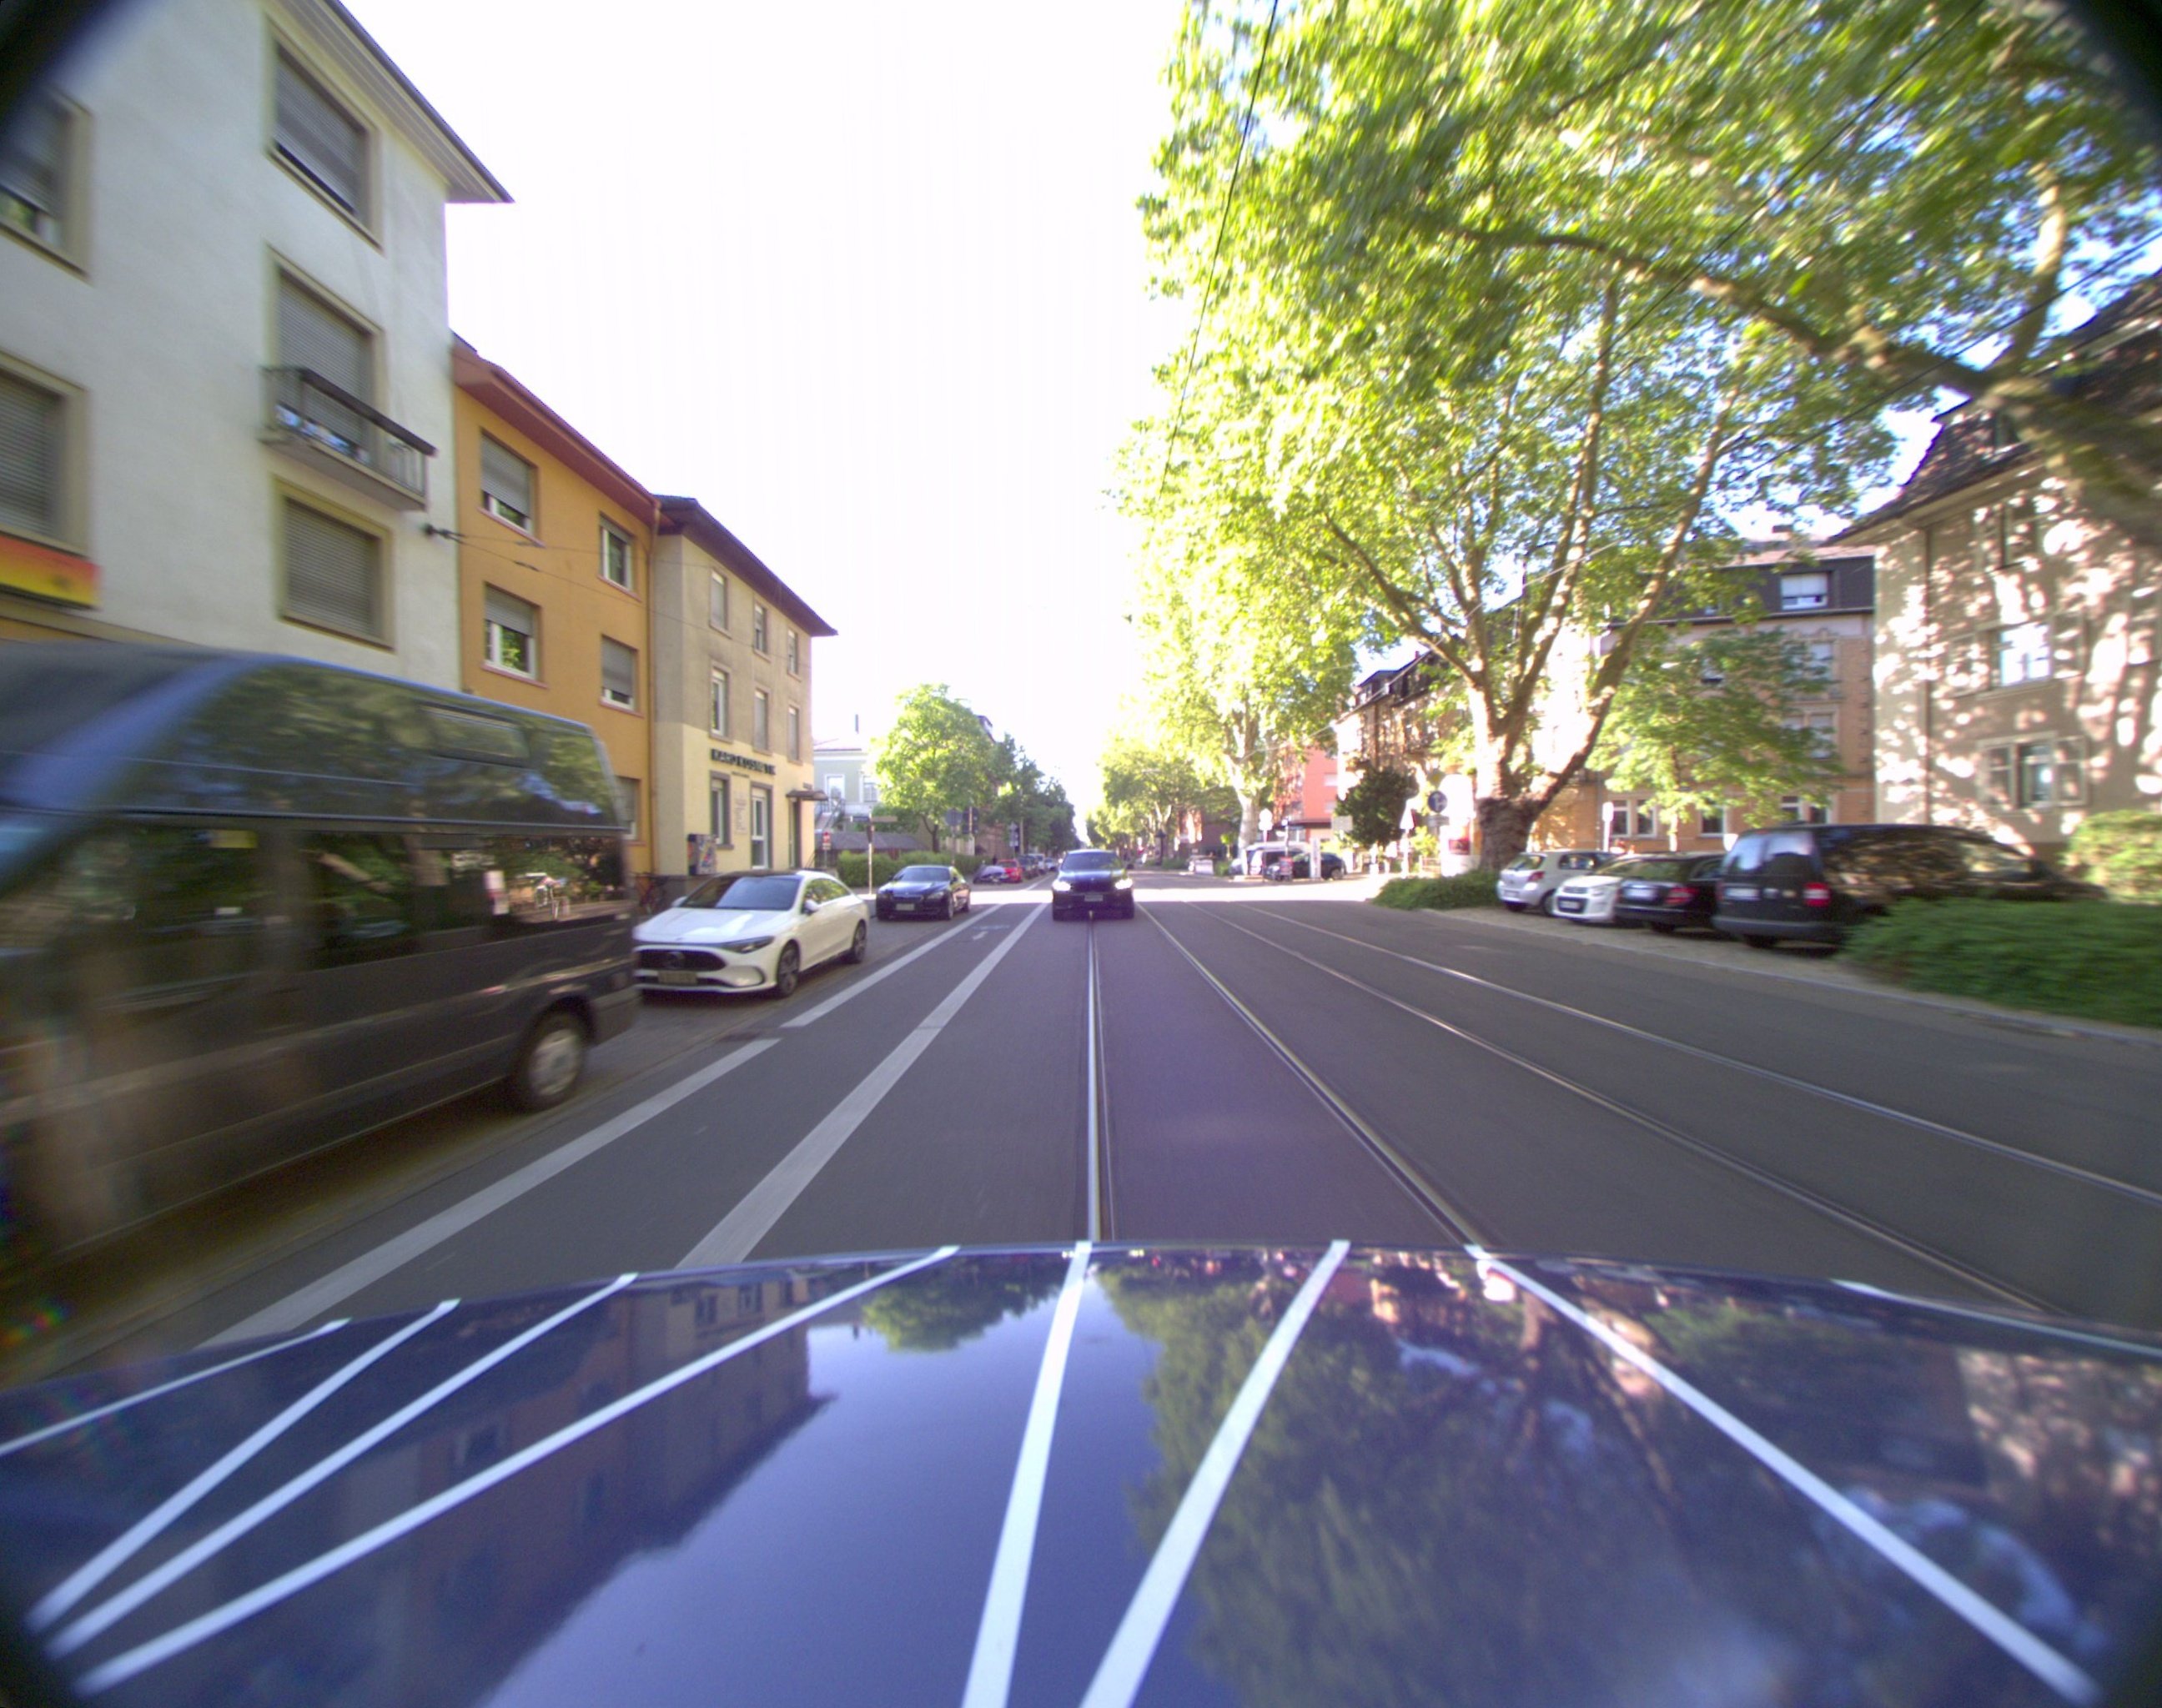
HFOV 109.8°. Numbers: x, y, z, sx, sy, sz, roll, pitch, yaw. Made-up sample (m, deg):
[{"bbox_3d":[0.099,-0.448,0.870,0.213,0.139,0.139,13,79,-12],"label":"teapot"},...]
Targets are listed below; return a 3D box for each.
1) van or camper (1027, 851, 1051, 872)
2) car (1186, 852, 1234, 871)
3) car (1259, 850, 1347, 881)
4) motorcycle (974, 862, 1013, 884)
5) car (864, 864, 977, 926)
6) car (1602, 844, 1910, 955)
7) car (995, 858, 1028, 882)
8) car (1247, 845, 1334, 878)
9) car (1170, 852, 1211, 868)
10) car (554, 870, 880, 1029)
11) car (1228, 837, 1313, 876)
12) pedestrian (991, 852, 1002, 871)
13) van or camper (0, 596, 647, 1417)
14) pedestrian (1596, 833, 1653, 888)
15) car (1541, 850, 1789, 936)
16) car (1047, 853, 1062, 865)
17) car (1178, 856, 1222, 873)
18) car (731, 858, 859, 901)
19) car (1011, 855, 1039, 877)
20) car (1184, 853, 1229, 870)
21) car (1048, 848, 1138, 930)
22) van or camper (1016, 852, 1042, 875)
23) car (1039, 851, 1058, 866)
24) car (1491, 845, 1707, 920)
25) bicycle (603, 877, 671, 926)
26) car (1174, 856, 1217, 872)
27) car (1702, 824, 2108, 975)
[{"bbox_3d":[-3.879,0.648,70.417,1.882,1.873,4.923,1,0,1],"label":"van or camper"},{"bbox_3d":[11.697,0.678,68.918,3.966,1.506,1.810,-2,0,-1],"label":"car"},{"bbox_3d":[11.974,0.617,41.244,4.170,1.506,1.925,-2,0,-1],"label":"car"},{"bbox_3d":[-4.959,1.064,43.214,2.071,1.152,0.828,2,1,4],"label":"motorcycle"},{"bbox_3d":[-4.164,1.025,20.586,1.998,1.372,4.739,1,0,1],"label":"car"},{"bbox_3d":[11.199,0.696,12.776,3.692,1.615,1.799,-2,1,-4],"label":"car"},{"bbox_3d":[-4.257,0.933,46.785,1.607,1.372,3.864,1,0,1],"label":"car"},{"bbox_3d":[12.042,0.447,43.896,4.464,1.755,2.028,-2,0,-1],"label":"car"},{"bbox_3d":[11.466,0.651,79.481,3.966,1.506,1.810,-2,0,-1],"label":"car"},{"bbox_3d":[-4.387,1.027,10.198,1.998,1.485,4.740,1,0,1],"label":"car"},{"bbox_3d":[12.354,0.148,49.728,5.019,2.383,2.028,-2,0,-1],"label":"car"},{"bbox_3d":[-7.659,0.646,68.915,0.813,1.669,0.885,-2,1,0],"label":"pedestrian"},{"bbox_3d":[-4.531,0.475,3.520,2.137,2.647,4.979,1,0,1],"label":"van or camper"},{"bbox_3d":[16.104,0.191,22.540,1.093,1.568,1.028,-2,1,19],"label":"pedestrian"},{"bbox_3d":[11.363,0.705,14.918,3.693,1.477,1.701,-2,1,-6],"label":"car"},{"bbox_3d":[-3.537,0.640,100.585,1.781,1.490,4.372,1,0,1],"label":"car"},{"bbox_3d":[11.670,1.052,74.830,3.966,1.506,1.810,-2,0,-1],"label":"car"},{"bbox_3d":[-11.569,1.046,30.901,4.458,1.629,1.904,-1,-2,5],"label":"car"},{"bbox_3d":[-4.052,0.863,55.936,1.694,1.478,4.143,1,0,1],"label":"car"},{"bbox_3d":[11.901,0.682,72.400,3.966,1.506,1.810,-2,0,-1],"label":"car"},{"bbox_3d":[0.290,0.761,19.045,1.924,1.741,4.806,-2,0,1],"label":"car"},{"bbox_3d":[-4.128,0.740,60.791,1.694,1.772,4.443,1,0,1],"label":"van or camper"},{"bbox_3d":[-3.647,0.481,86.106,1.815,1.702,4.372,1,0,1],"label":"car"},{"bbox_3d":[11.693,0.618,17.358,3.689,1.545,1.704,-2,1,6],"label":"car"},{"bbox_3d":[-10.238,1.078,17.599,0.427,0.991,1.858,-2,0,1],"label":"bicycle"},{"bbox_3d":[11.548,1.033,76.682,3.966,1.506,1.810,-2,0,-1],"label":"car"},{"bbox_3d":[11.082,0.567,10.425,3.691,1.804,1.704,-2,1,0],"label":"car"}]
